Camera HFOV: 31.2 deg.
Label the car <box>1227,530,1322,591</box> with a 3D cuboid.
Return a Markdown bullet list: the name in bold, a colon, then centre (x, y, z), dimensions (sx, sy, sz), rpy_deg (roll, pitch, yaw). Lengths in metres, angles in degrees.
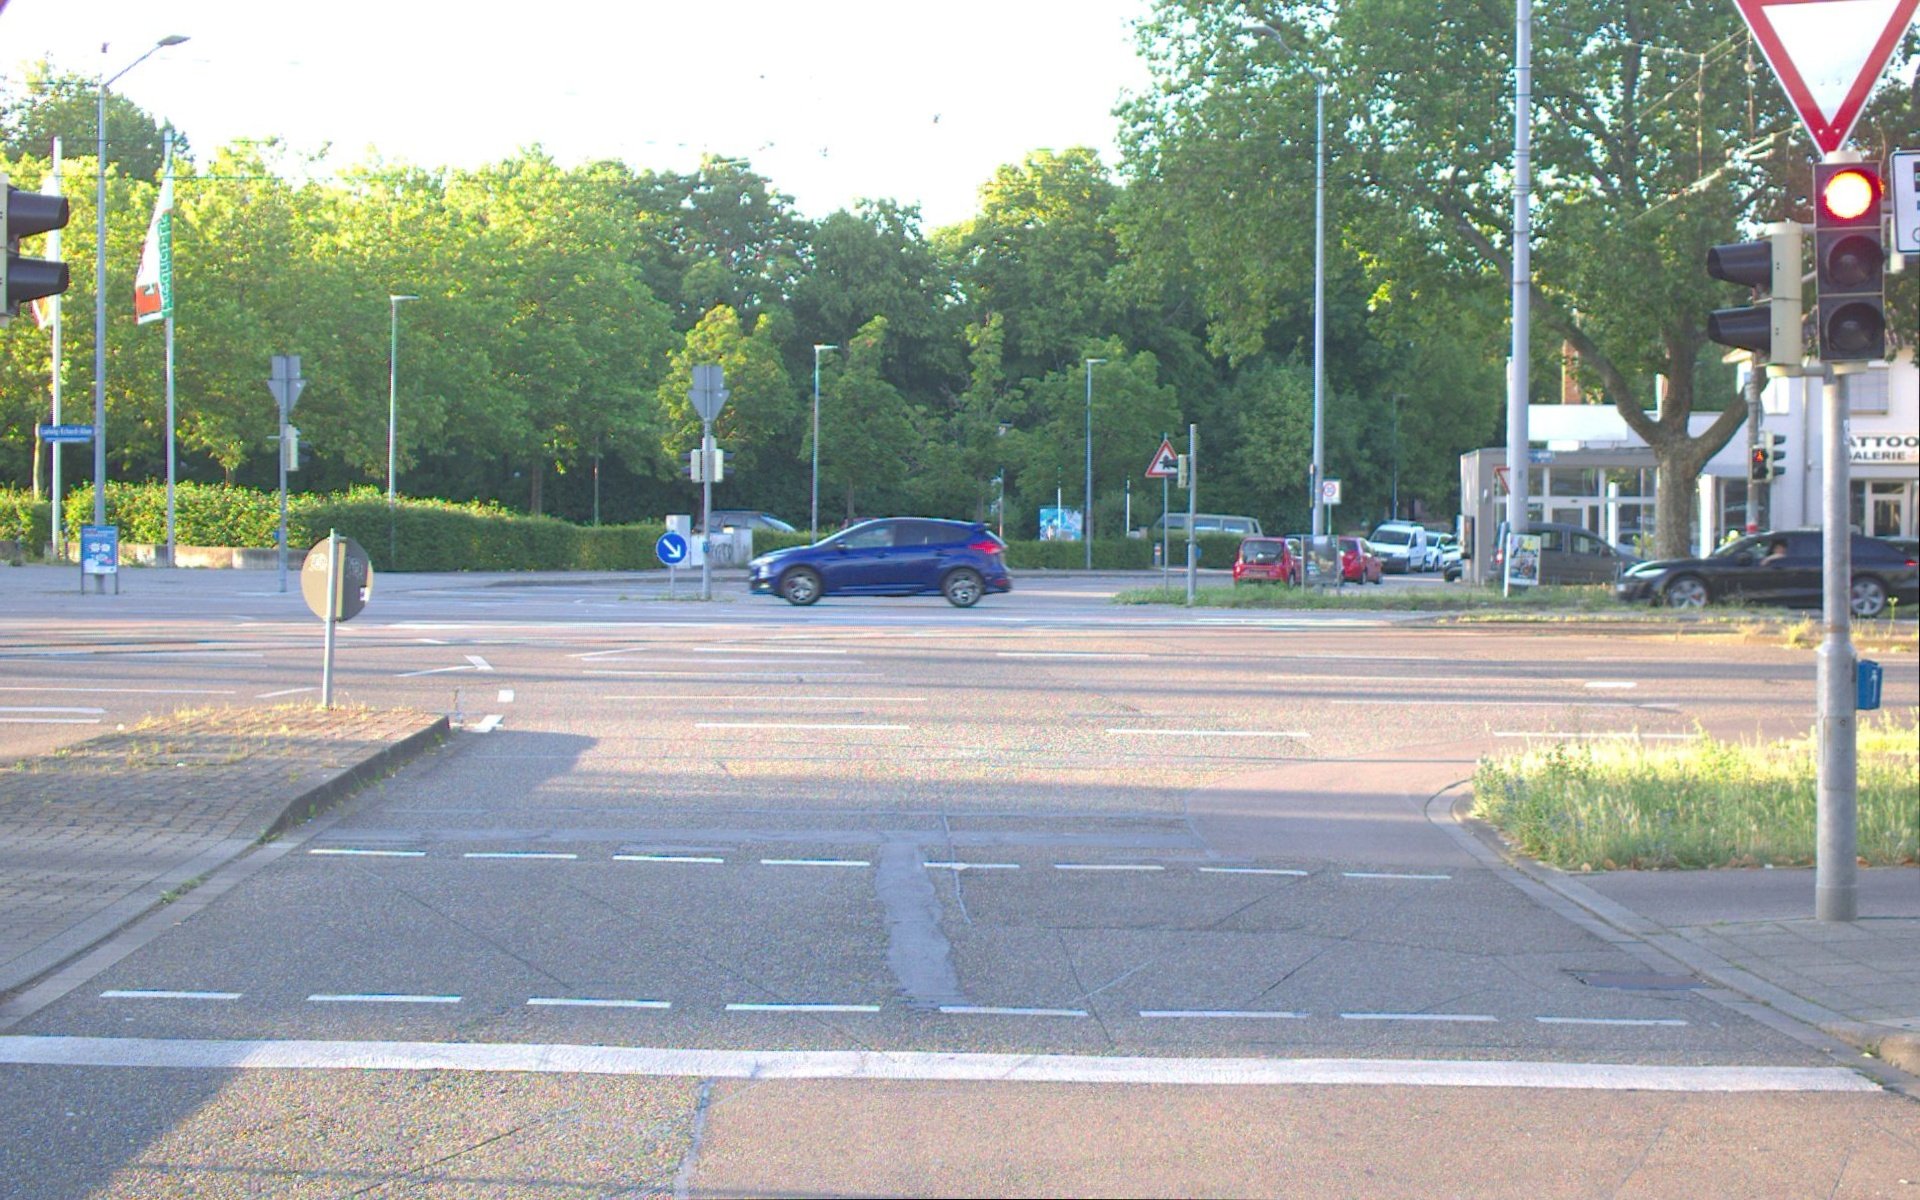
- **car**: centre (8.773, -1.087, 95.684), dimensions (1.995, 1.656, 3.997), rpy_deg (1, 0, 15)

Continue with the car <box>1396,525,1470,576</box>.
- **car**: centre (15.918, -1.663, 115.595), dimensions (1.995, 1.656, 3.997), rpy_deg (1, 0, 15)

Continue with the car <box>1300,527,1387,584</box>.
- **car**: centre (11.553, -1.325, 103.370), dimensions (1.995, 1.656, 3.997), rpy_deg (1, 0, 15)

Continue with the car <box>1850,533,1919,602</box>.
- **car**: centre (20.681, -0.670, 72.163), dimensions (3.741, 1.435, 1.663), rpy_deg (1, 0, 9)

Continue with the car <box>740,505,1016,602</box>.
- **car**: centre (-1.316, -0.763, 56.787), dimensions (4.472, 1.547, 2.000), rpy_deg (0, 0, 1)

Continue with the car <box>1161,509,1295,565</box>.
- **car**: centre (9.779, -2.304, 125.872), dimensions (4.774, 1.999, 2.000), rpy_deg (0, 0, 2)

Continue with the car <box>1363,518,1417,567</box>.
- **car**: centre (16.424, -2.175, 131.186), dimensions (1.864, 1.788, 3.998), rpy_deg (1, 0, 10)

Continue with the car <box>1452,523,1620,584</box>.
- **car**: centre (14.909, -1.205, 89.165), dimensions (4.220, 1.547, 1.999), rpy_deg (1, 0, 7)

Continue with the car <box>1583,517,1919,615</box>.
- **car**: centre (13.071, -0.557, 57.011), dimensions (5.099, 1.547, 2.000), rpy_deg (0, 0, -1)

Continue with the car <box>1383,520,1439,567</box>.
- **car**: centre (17.879, -2.237, 136.081), dimensions (1.864, 1.788, 3.998), rpy_deg (1, 0, 12)
